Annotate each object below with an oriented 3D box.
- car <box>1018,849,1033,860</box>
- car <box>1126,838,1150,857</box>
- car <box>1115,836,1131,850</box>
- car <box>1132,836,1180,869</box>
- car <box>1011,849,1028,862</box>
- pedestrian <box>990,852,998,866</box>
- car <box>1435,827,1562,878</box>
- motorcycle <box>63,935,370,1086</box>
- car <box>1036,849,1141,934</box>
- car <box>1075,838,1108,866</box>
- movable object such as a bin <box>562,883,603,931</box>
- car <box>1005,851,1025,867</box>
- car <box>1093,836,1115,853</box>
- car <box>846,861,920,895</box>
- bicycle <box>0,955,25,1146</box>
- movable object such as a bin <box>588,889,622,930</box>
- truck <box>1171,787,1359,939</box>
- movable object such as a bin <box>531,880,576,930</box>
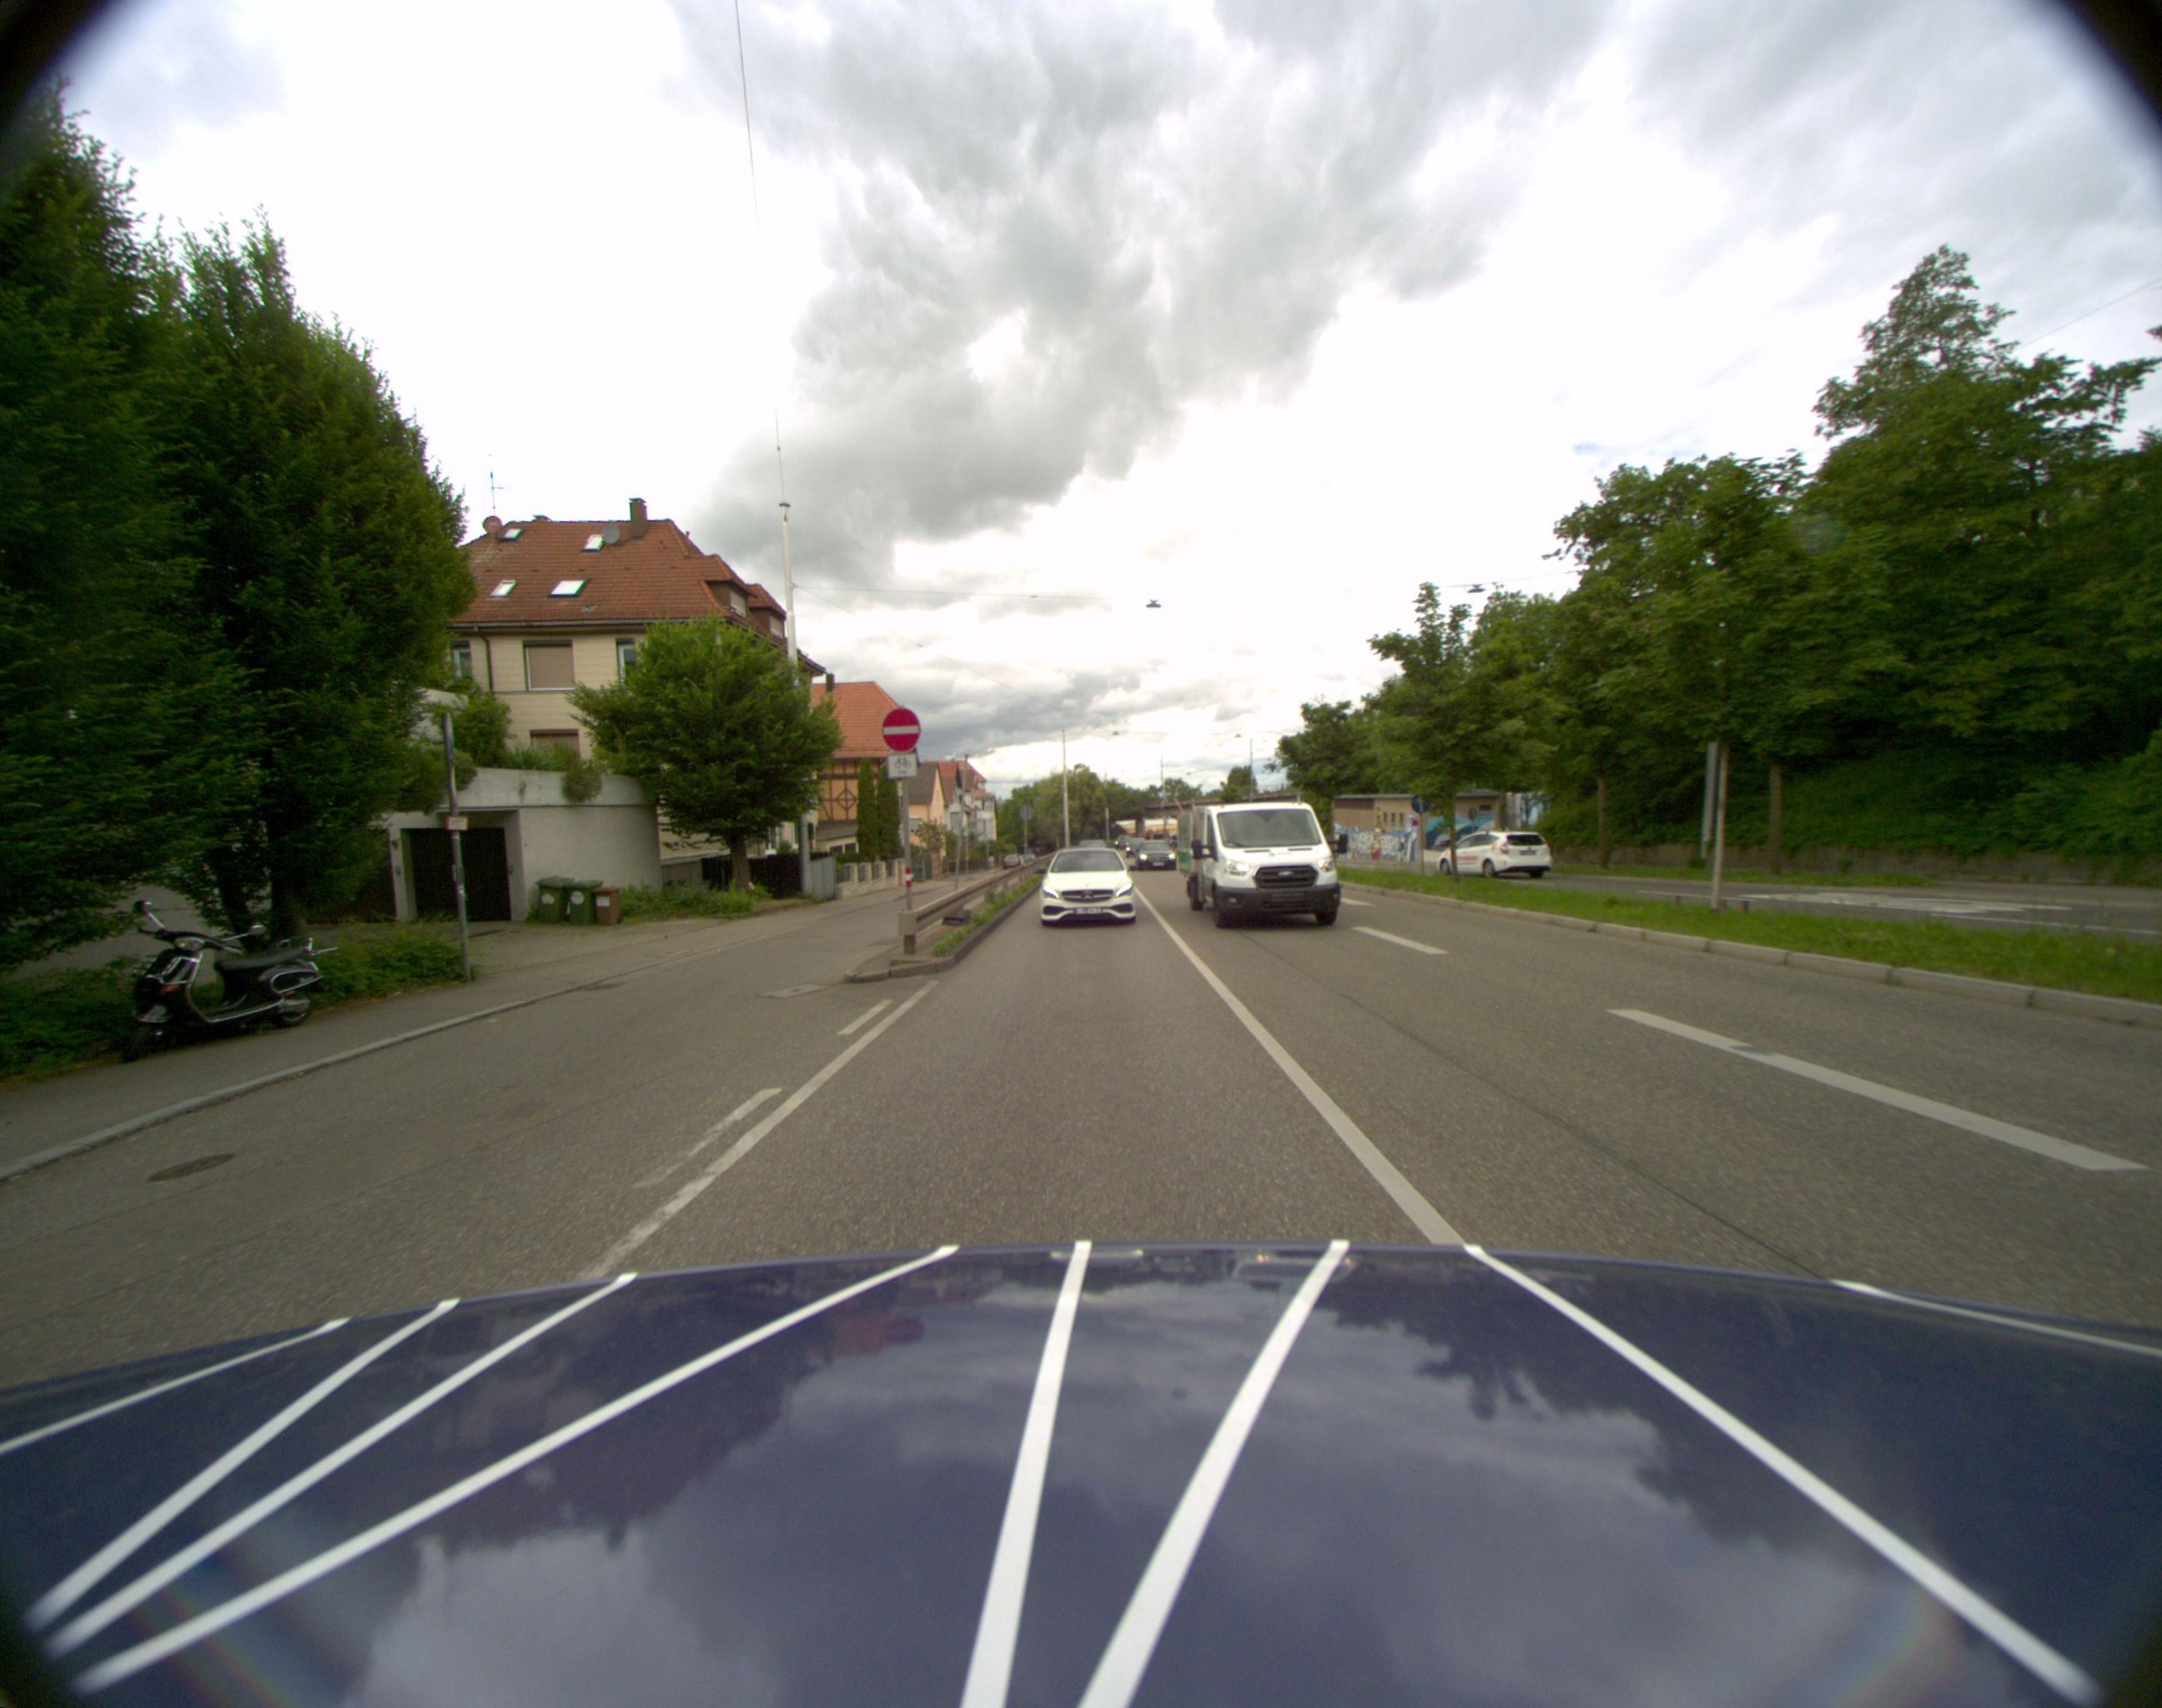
[{"bbox_3d":[-8.156,0.051,111.578,1.851,1.354,3.999,-2,1,-1],"label":"car"},{"bbox_3d":[4.726,-0.563,63.297,1.777,1.520,4.000,-1,1,2],"label":"car"},{"bbox_3d":[5.451,-1.441,97.362,1.776,1.783,4.001,-1,1,6],"label":"car"},{"bbox_3d":[3.709,-0.121,38.182,1.916,1.472,4.399,-3,1,0],"label":"car"},{"bbox_3d":[-7.699,0.185,95.529,1.923,1.490,3.999,-3,1,-1],"label":"car"},{"bbox_3d":[-9.306,0.577,81.395,0.713,1.462,0.695,-3,1,-1],"label":"pedestrian"},{"bbox_3d":[14.241,-0.072,26.258,1.785,1.551,4.457,-2,1,-2],"label":"car"},{"bbox_3d":[-8.279,1.438,7.450,0.697,1.045,1.967,-1,1,1],"label":"motorcycle"},{"bbox_3d":[0.199,0.650,15.500,1.817,1.391,3.999,-2,1,2],"label":"car"},{"bbox_3d":[0.659,-0.150,44.684,1.777,1.532,4.000,-3,1,2],"label":"car"},{"bbox_3d":[-11.816,1.258,18.033,0.543,1.049,0.560,4,1,0],"label":"movable object such as a bin"},{"bbox_3d":[-7.392,0.497,85.650,1.923,1.641,3.999,-3,1,-1],"label":"car"},{"bbox_3d":[1.934,-0.813,65.505,1.777,1.391,3.999,-3,1,1],"label":"car"},{"bbox_3d":[-11.015,1.306,42.257,3.799,1.396,1.544,-7,2,-18],"label":"car"},{"bbox_3d":[-7.478,1.317,4.146,0.572,1.255,2.038,-1,0,-1],"label":"bicycle"},{"bbox_3d":[-11.359,1.316,18.145,0.453,0.935,0.560,1,1,0],"label":"movable object such as a bin"},{"bbox_3d":[3.244,0.032,14.970,2.080,2.308,6.329,-2,2,0],"label":"truck"},{"bbox_3d":[-12.424,1.194,17.916,0.543,1.074,0.655,4,1,0],"label":"movable object such as a bin"}]
